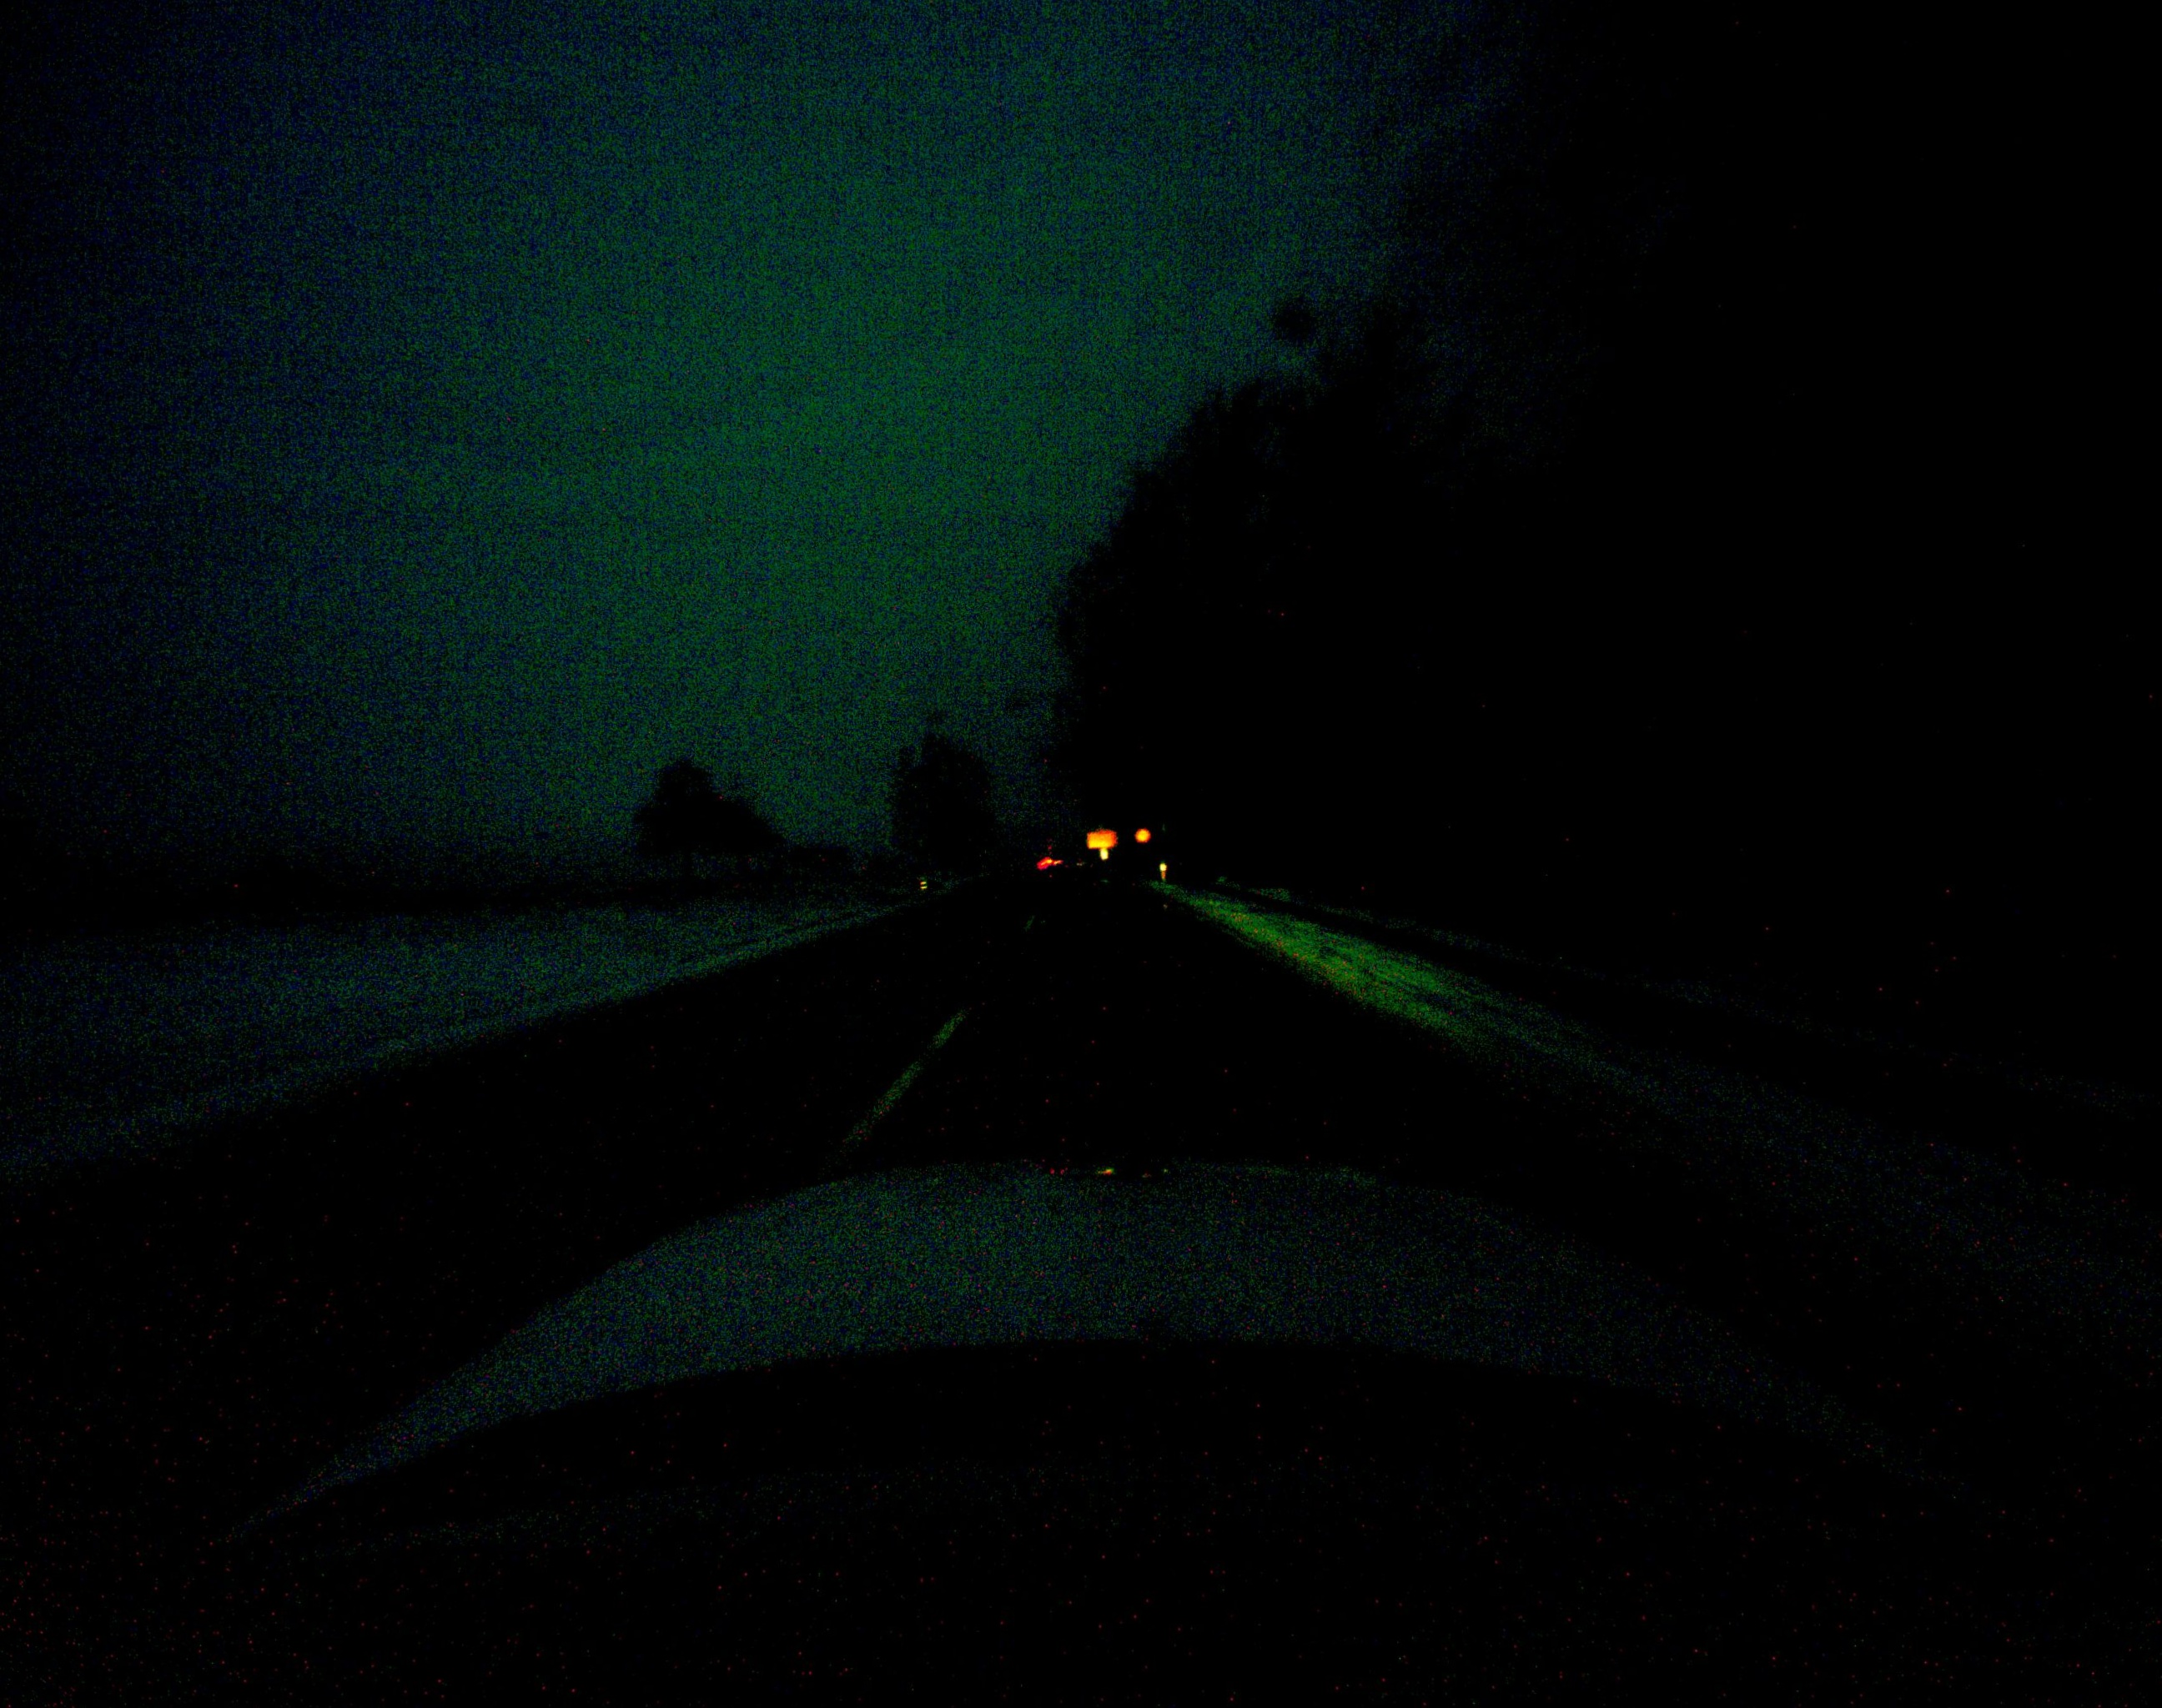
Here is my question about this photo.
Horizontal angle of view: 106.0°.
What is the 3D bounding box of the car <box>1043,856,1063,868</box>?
[{"bbox_3d":[-3.222,0.892,95.890,1.913,1.276,4.004,-3,0,4],"label":"car"}]
